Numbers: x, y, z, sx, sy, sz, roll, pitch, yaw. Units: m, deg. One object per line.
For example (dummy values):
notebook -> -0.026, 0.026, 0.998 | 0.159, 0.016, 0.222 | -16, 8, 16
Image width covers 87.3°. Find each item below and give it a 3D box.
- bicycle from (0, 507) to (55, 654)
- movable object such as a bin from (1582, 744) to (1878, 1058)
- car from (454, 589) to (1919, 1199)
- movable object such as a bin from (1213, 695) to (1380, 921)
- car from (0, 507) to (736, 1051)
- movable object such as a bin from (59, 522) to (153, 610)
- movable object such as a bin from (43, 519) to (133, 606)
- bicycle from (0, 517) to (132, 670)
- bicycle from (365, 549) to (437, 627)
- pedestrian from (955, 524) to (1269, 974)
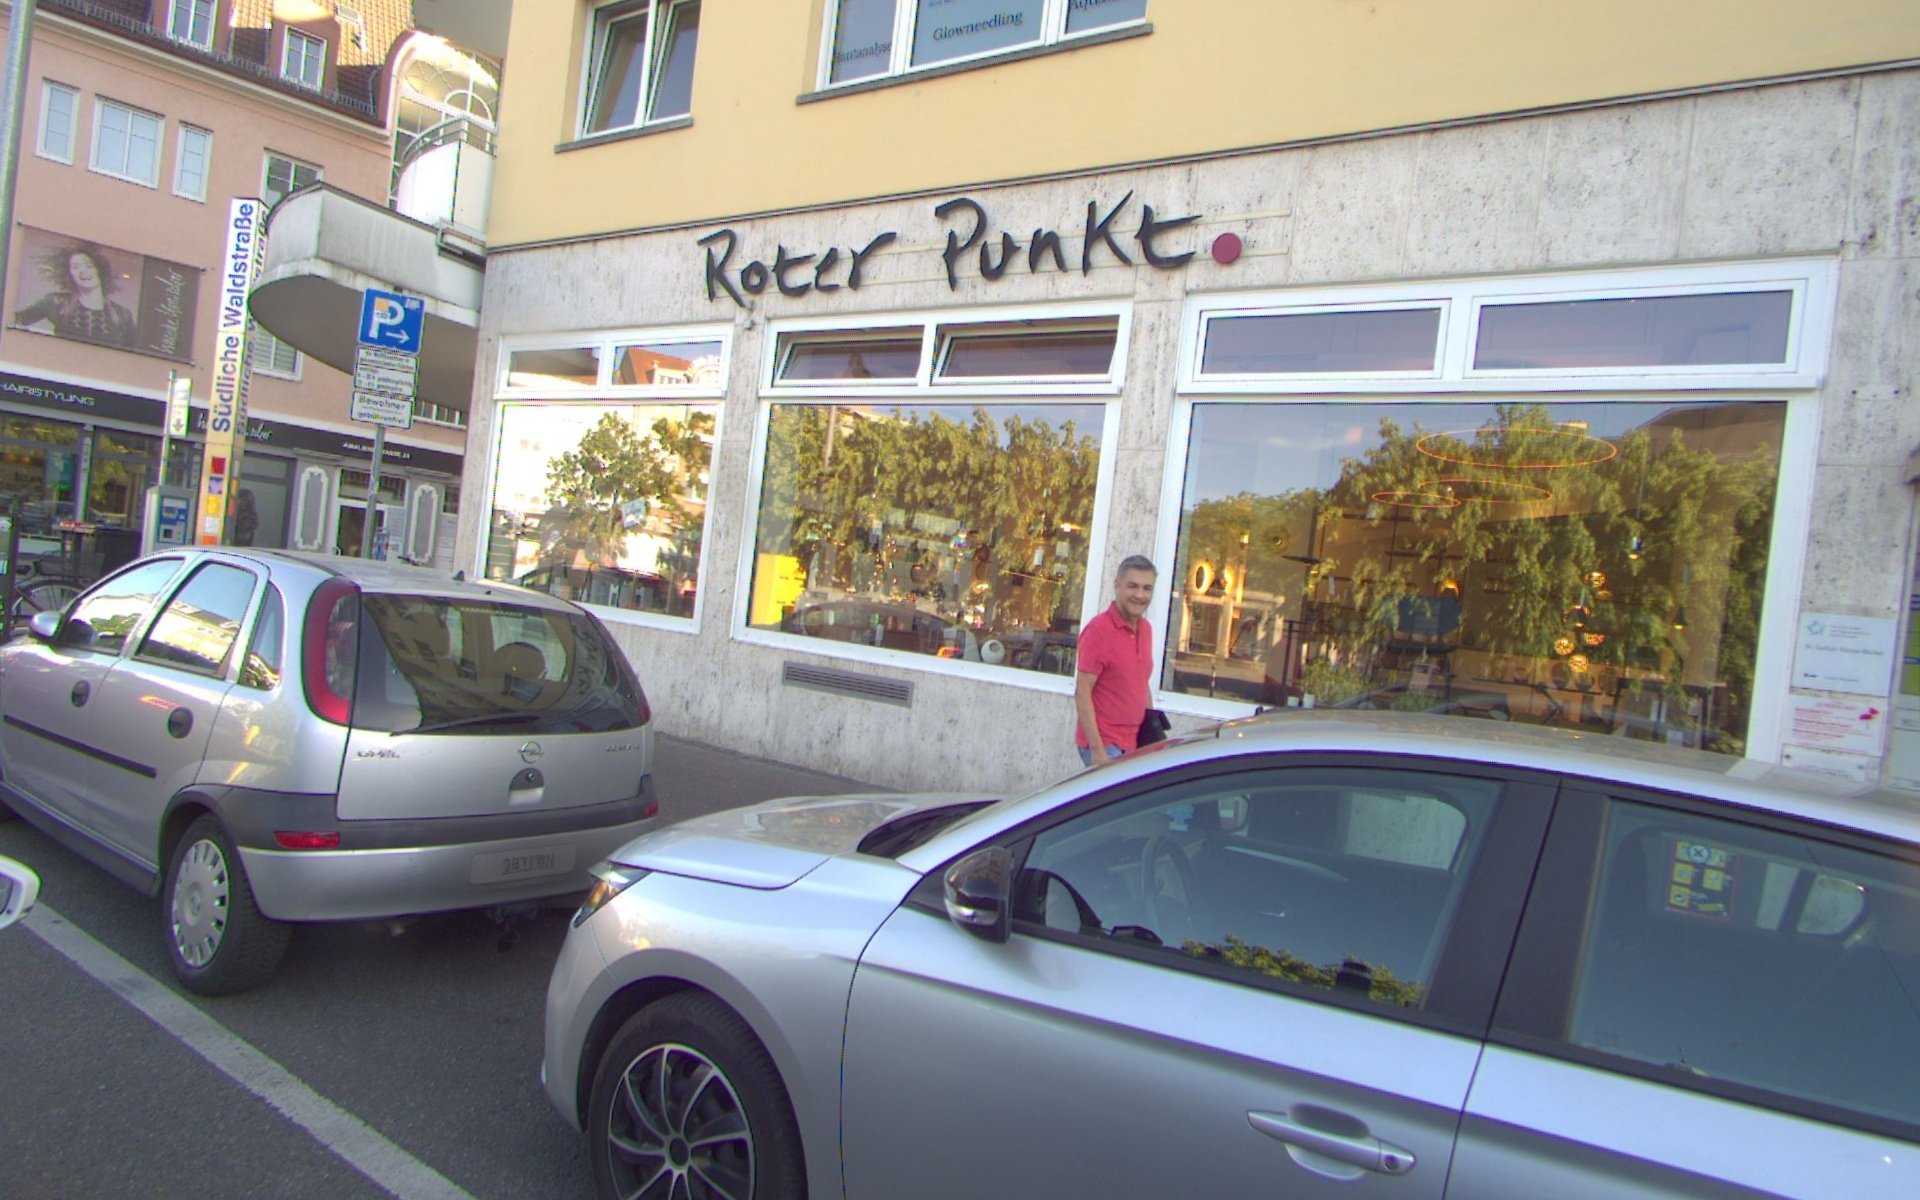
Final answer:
bicycle -> -9.110, -0.236, 8.705 | 0.778, 1.284, 1.721 | 7, 1, 37
movable object such as a bin -> 3.383, 1.268, 4.525 | 0.879, 1.066, 0.751 | 7, 0, 32
car -> 0.779, 0.927, 2.313 | 3.643, 1.415, 1.653 | 7, -1, 30
movable object such as a bin -> 1.854, 1.082, 5.496 | 0.592, 1.041, 0.811 | 7, 0, 32
car -> -2.942, 0.479, 4.465 | 3.583, 1.397, 1.616 | 7, -2, 32
movable object such as a bin -> -11.902, -0.469, 14.032 | 0.617, 1.105, 0.754 | 6, -1, 34
movable object such as a bin -> -12.438, -0.528, 14.352 | 0.617, 1.105, 0.734 | 6, -1, 34
bicycle -> -8.105, -0.084, 8.231 | 0.681, 1.208, 1.885 | 8, 1, 37
bicycle -> -10.027, -0.236, 17.995 | 0.656, 1.213, 2.187 | 7, -1, -39
pedestrian -> 0.712, 0.612, 4.731 | 0.994, 1.807, 0.862 | 7, 2, 40
